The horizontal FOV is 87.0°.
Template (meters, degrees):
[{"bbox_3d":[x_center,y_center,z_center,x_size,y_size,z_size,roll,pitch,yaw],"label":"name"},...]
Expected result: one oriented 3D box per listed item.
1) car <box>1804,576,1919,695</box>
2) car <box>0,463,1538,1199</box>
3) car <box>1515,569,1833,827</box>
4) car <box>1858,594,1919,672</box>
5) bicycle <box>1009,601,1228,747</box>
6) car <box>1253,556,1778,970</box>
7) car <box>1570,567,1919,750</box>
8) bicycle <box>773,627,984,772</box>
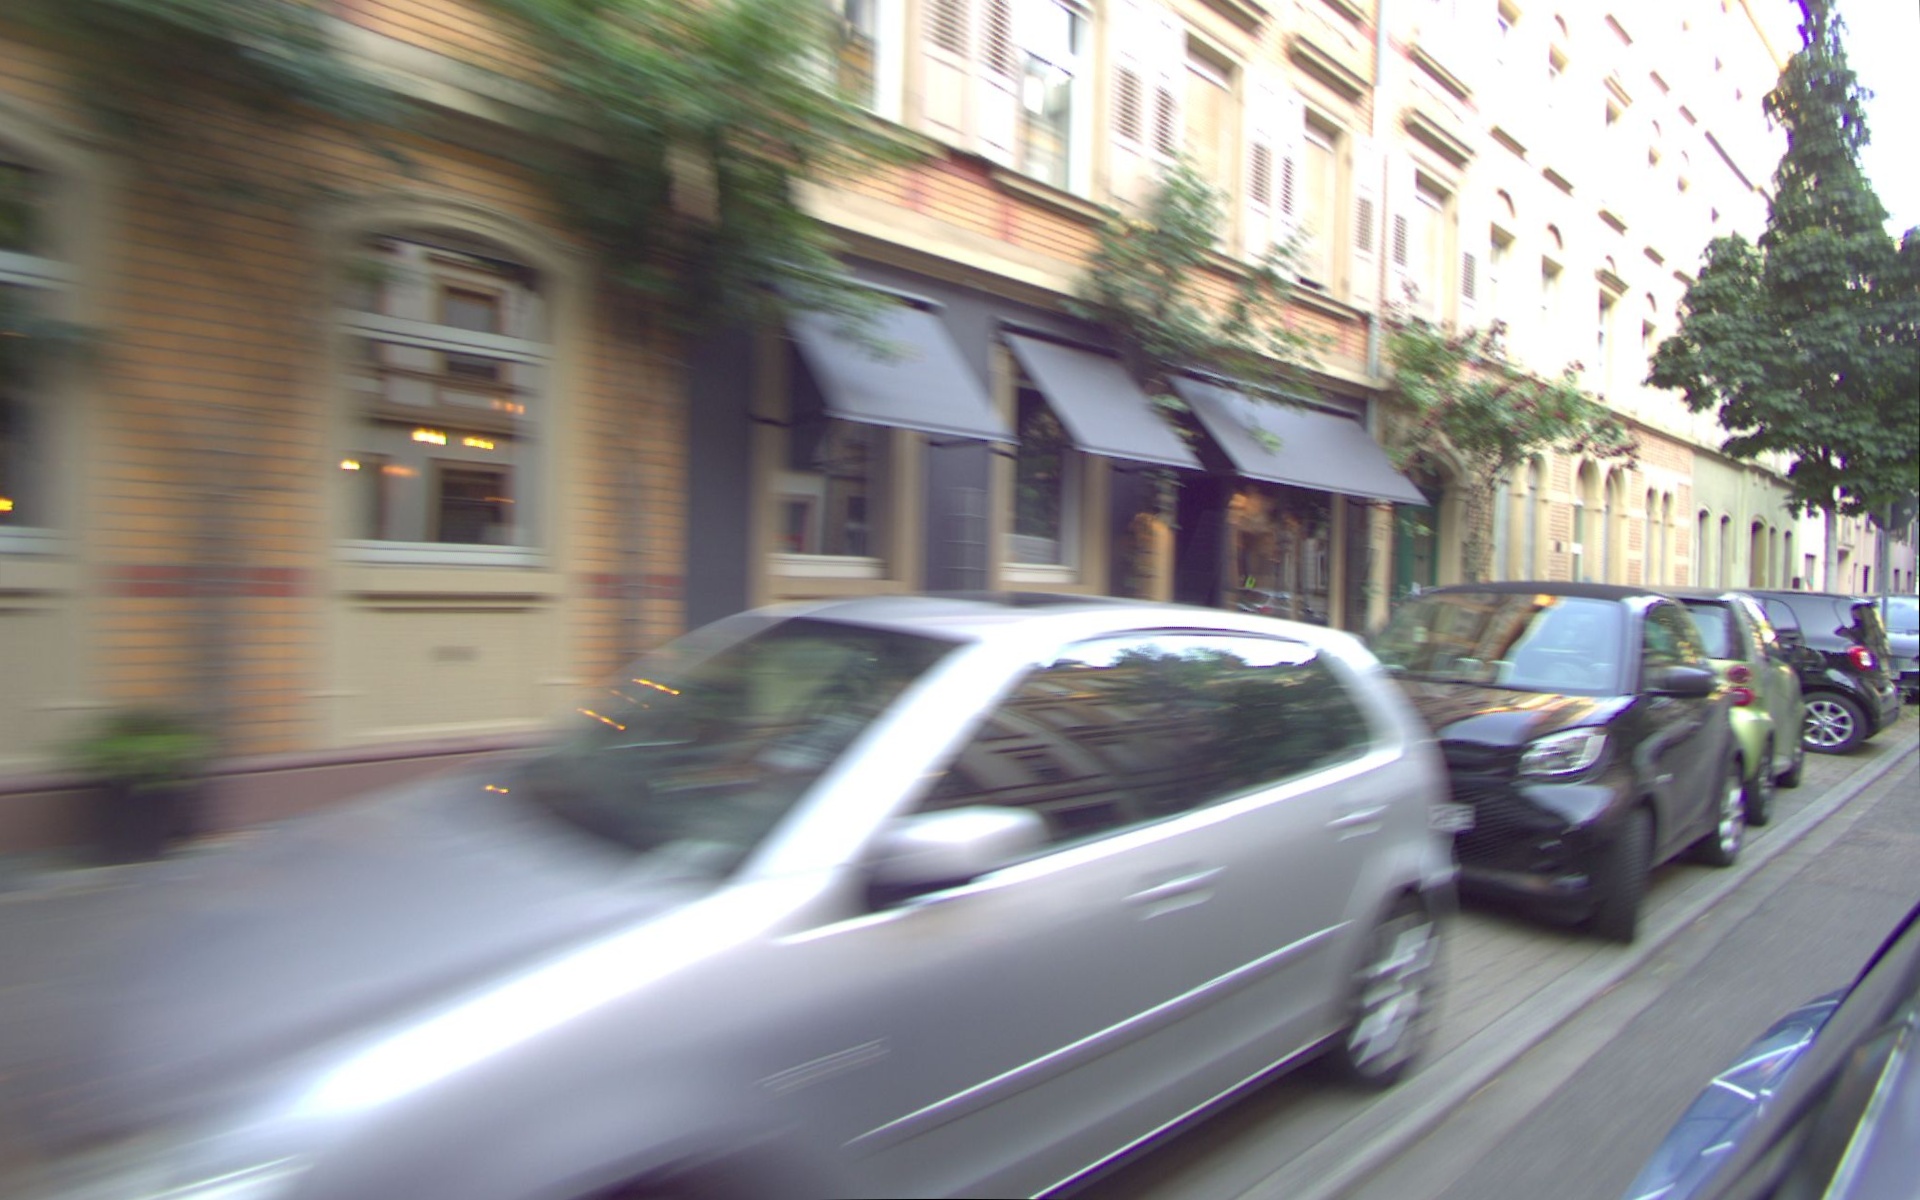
[{"bbox_3d":[14.841,0.489,15.772,4.376,1.651,1.942,0,1,-41],"label":"car"},{"bbox_3d":[-0.159,0.602,2.723,4.032,1.509,1.736,0,2,-41],"label":"car"},{"bbox_3d":[5.558,0.585,7.774,2.870,1.571,1.466,0,2,-44],"label":"car"},{"bbox_3d":[19.791,0.631,20.313,4.782,1.421,2.050,0,2,-41],"label":"car"},{"bbox_3d":[1.368,0.561,8.493,1.915,1.048,0.688,0,4,-40],"label":"bicycle"},{"bbox_3d":[3.128,0.600,5.492,3.069,1.580,1.593,0,1,-42],"label":"car"},{"bbox_3d":[8.343,0.503,10.828,1.499,1.592,2.721,0,3,-40],"label":"car"},{"bbox_3d":[-0.533,0.652,7.111,1.521,0.870,0.446,0,1,-42],"label":"bicycle"}]
